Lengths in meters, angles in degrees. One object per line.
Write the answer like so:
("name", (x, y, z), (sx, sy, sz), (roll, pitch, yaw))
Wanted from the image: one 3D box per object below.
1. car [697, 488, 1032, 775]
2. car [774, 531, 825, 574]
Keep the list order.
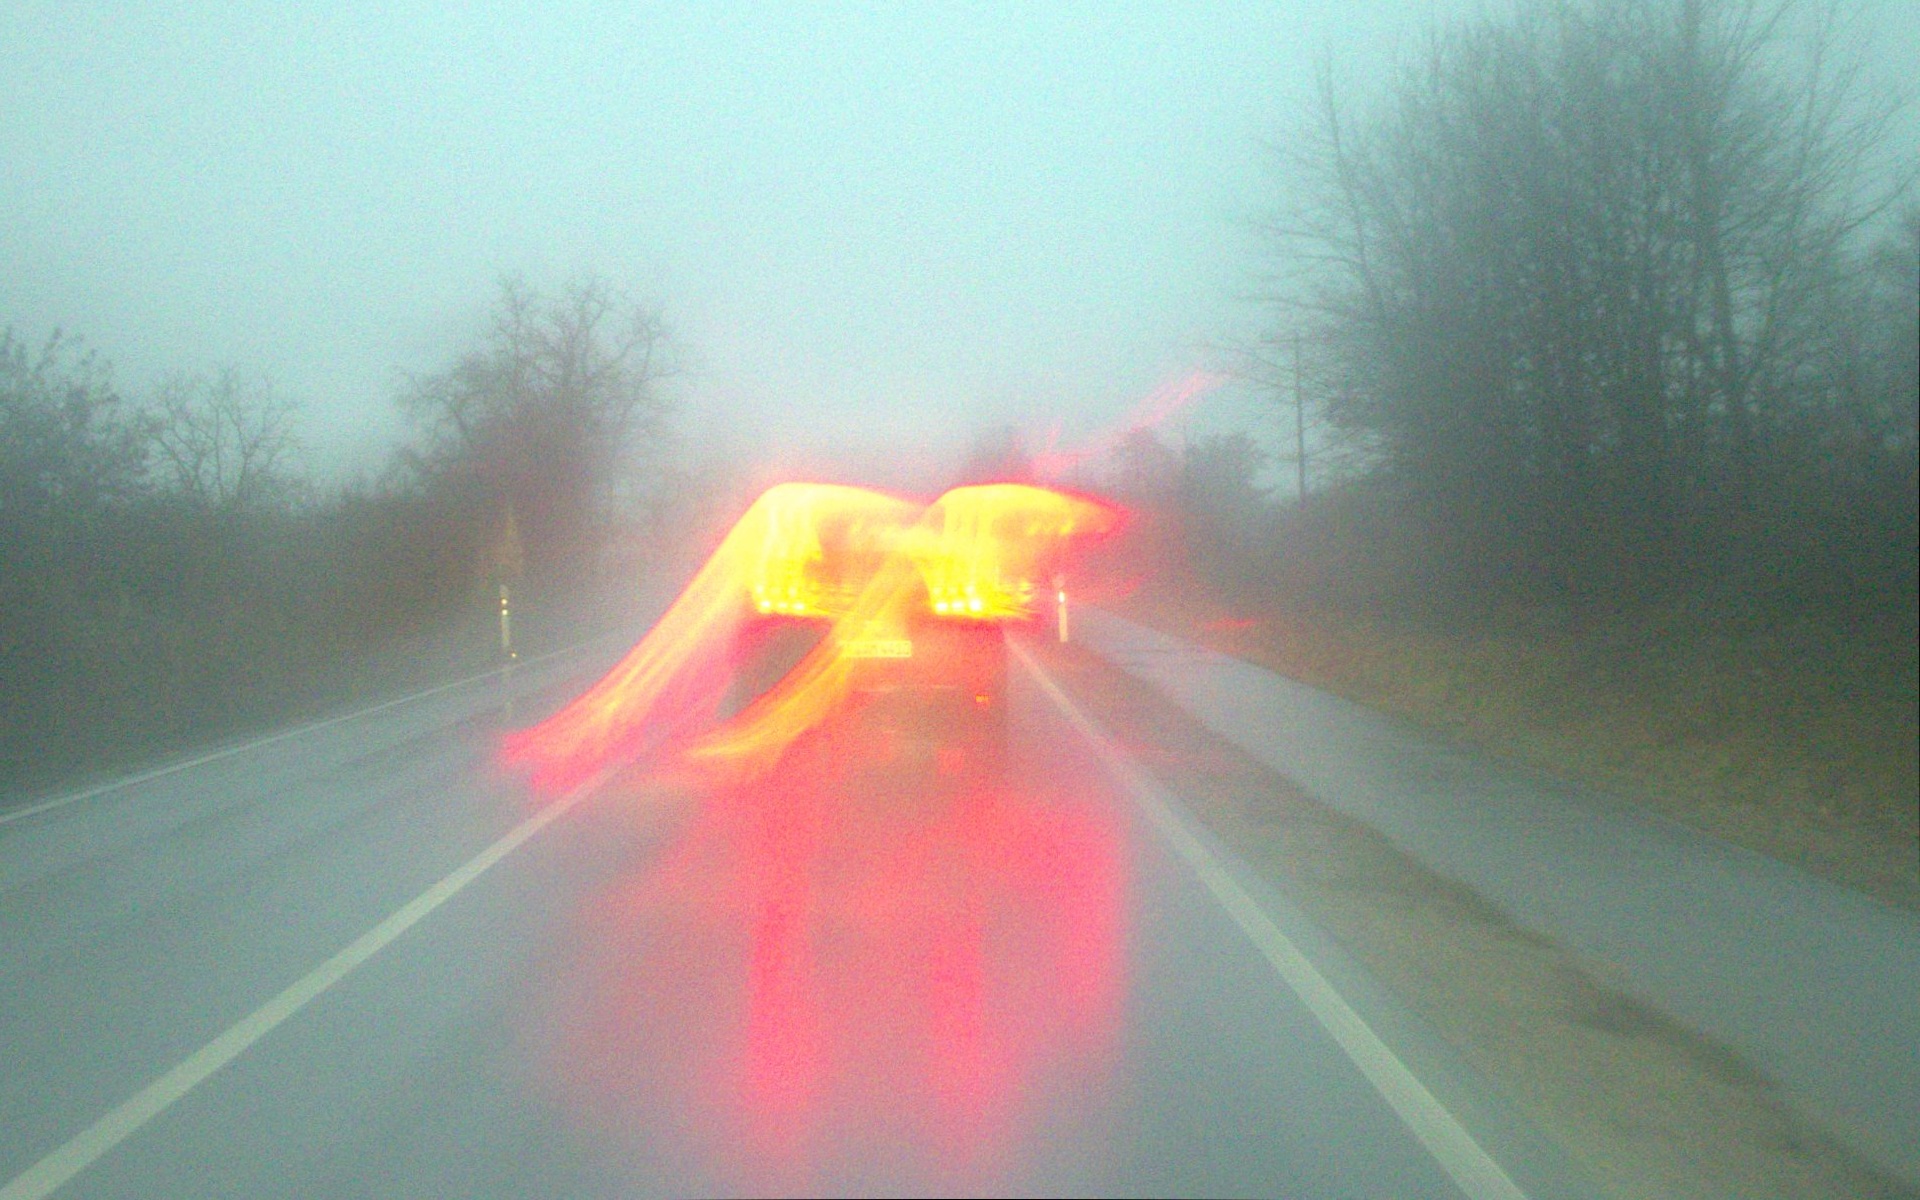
("car", (-0.631, 0.158, 24.297), (2.120, 1.813, 4.980), (0, 1, -1))
("car", (-5.691, -1.694, 122.081), (1.632, 1.452, 3.983), (-3, 1, -1))
